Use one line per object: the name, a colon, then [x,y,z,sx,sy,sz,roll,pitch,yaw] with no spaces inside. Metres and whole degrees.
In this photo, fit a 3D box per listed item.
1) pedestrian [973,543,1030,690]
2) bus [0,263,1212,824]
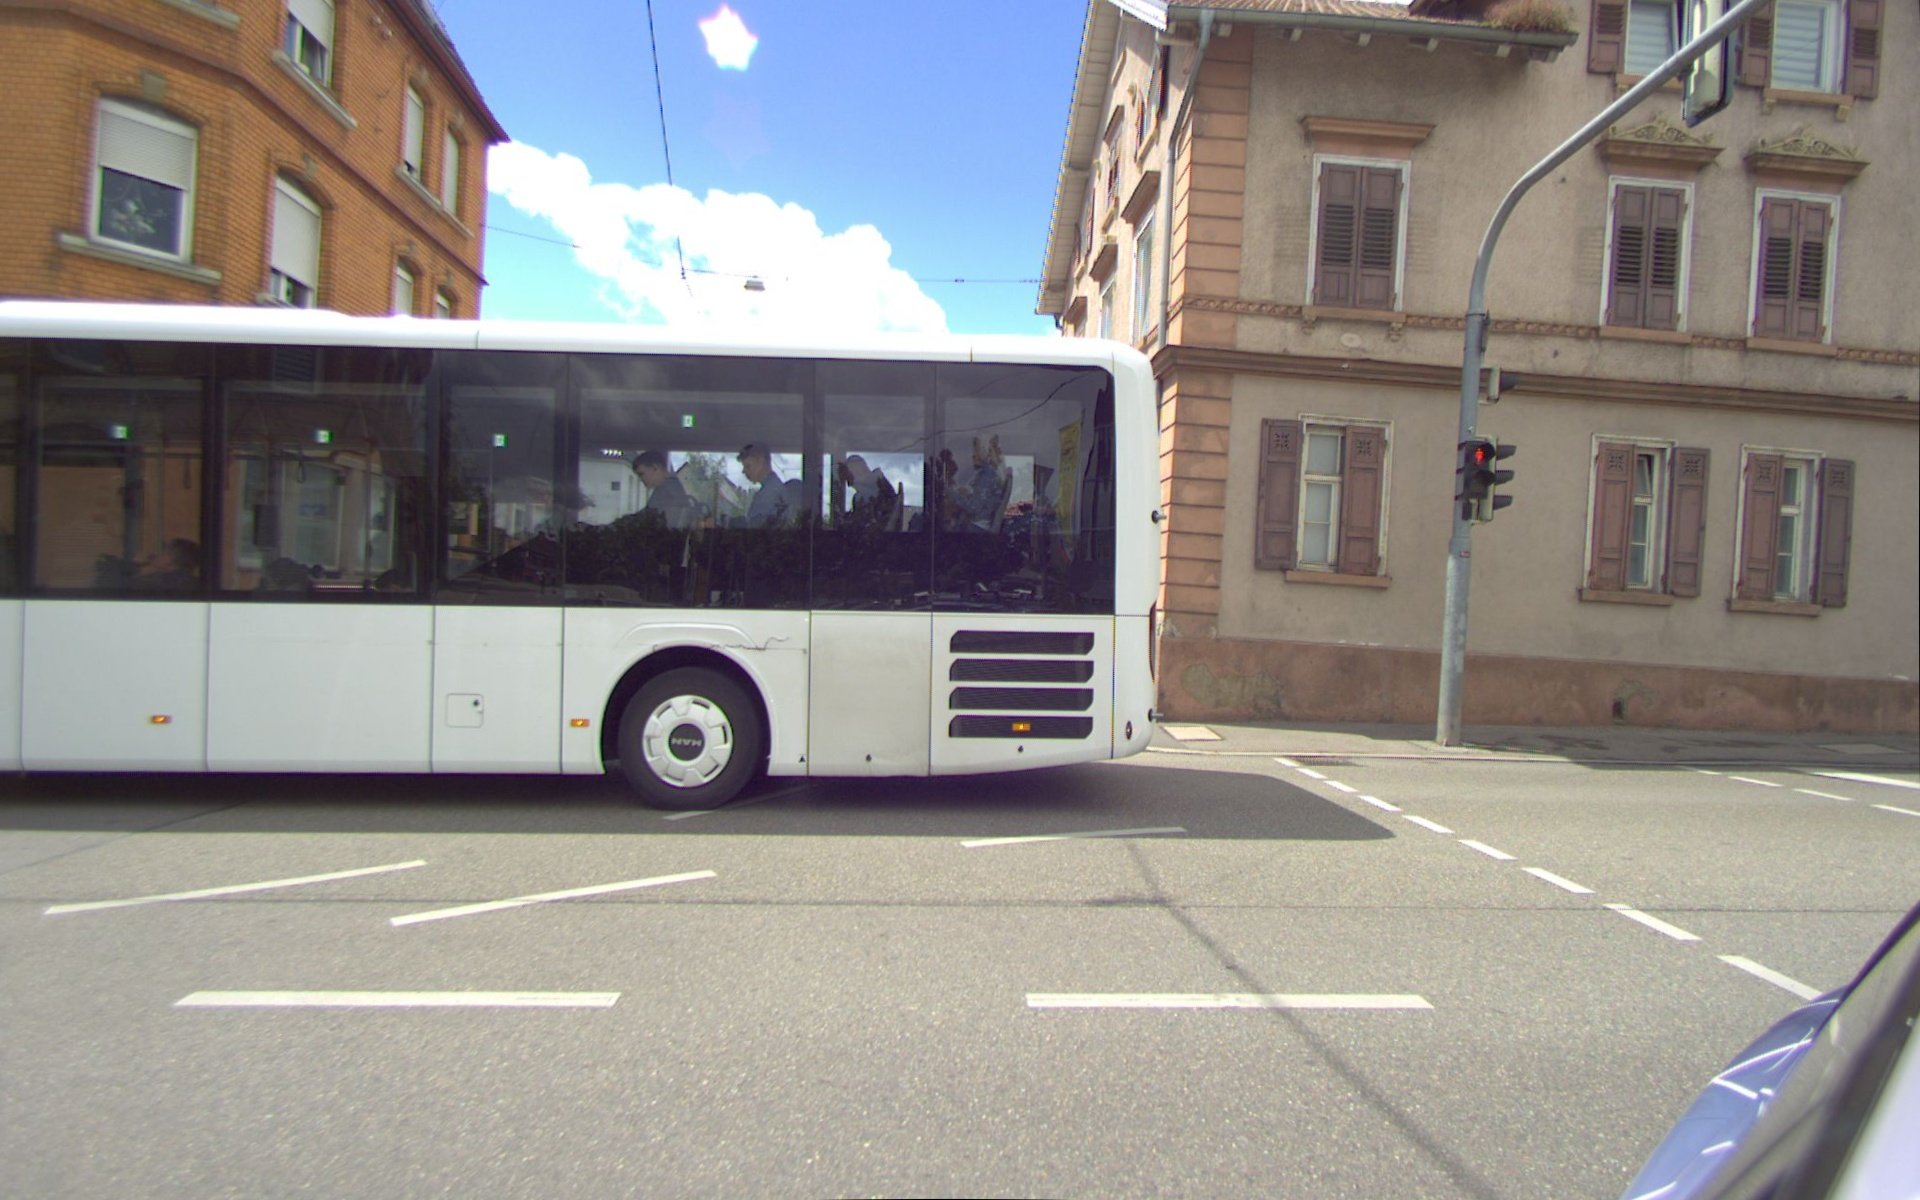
pedestrian: [0.571,0.215,13.588,0.711,1.888,1.047,-1,-1,5]
bus: [-4.560,-0.366,7.747,12.182,3.431,2.971,-1,-1,-3]
